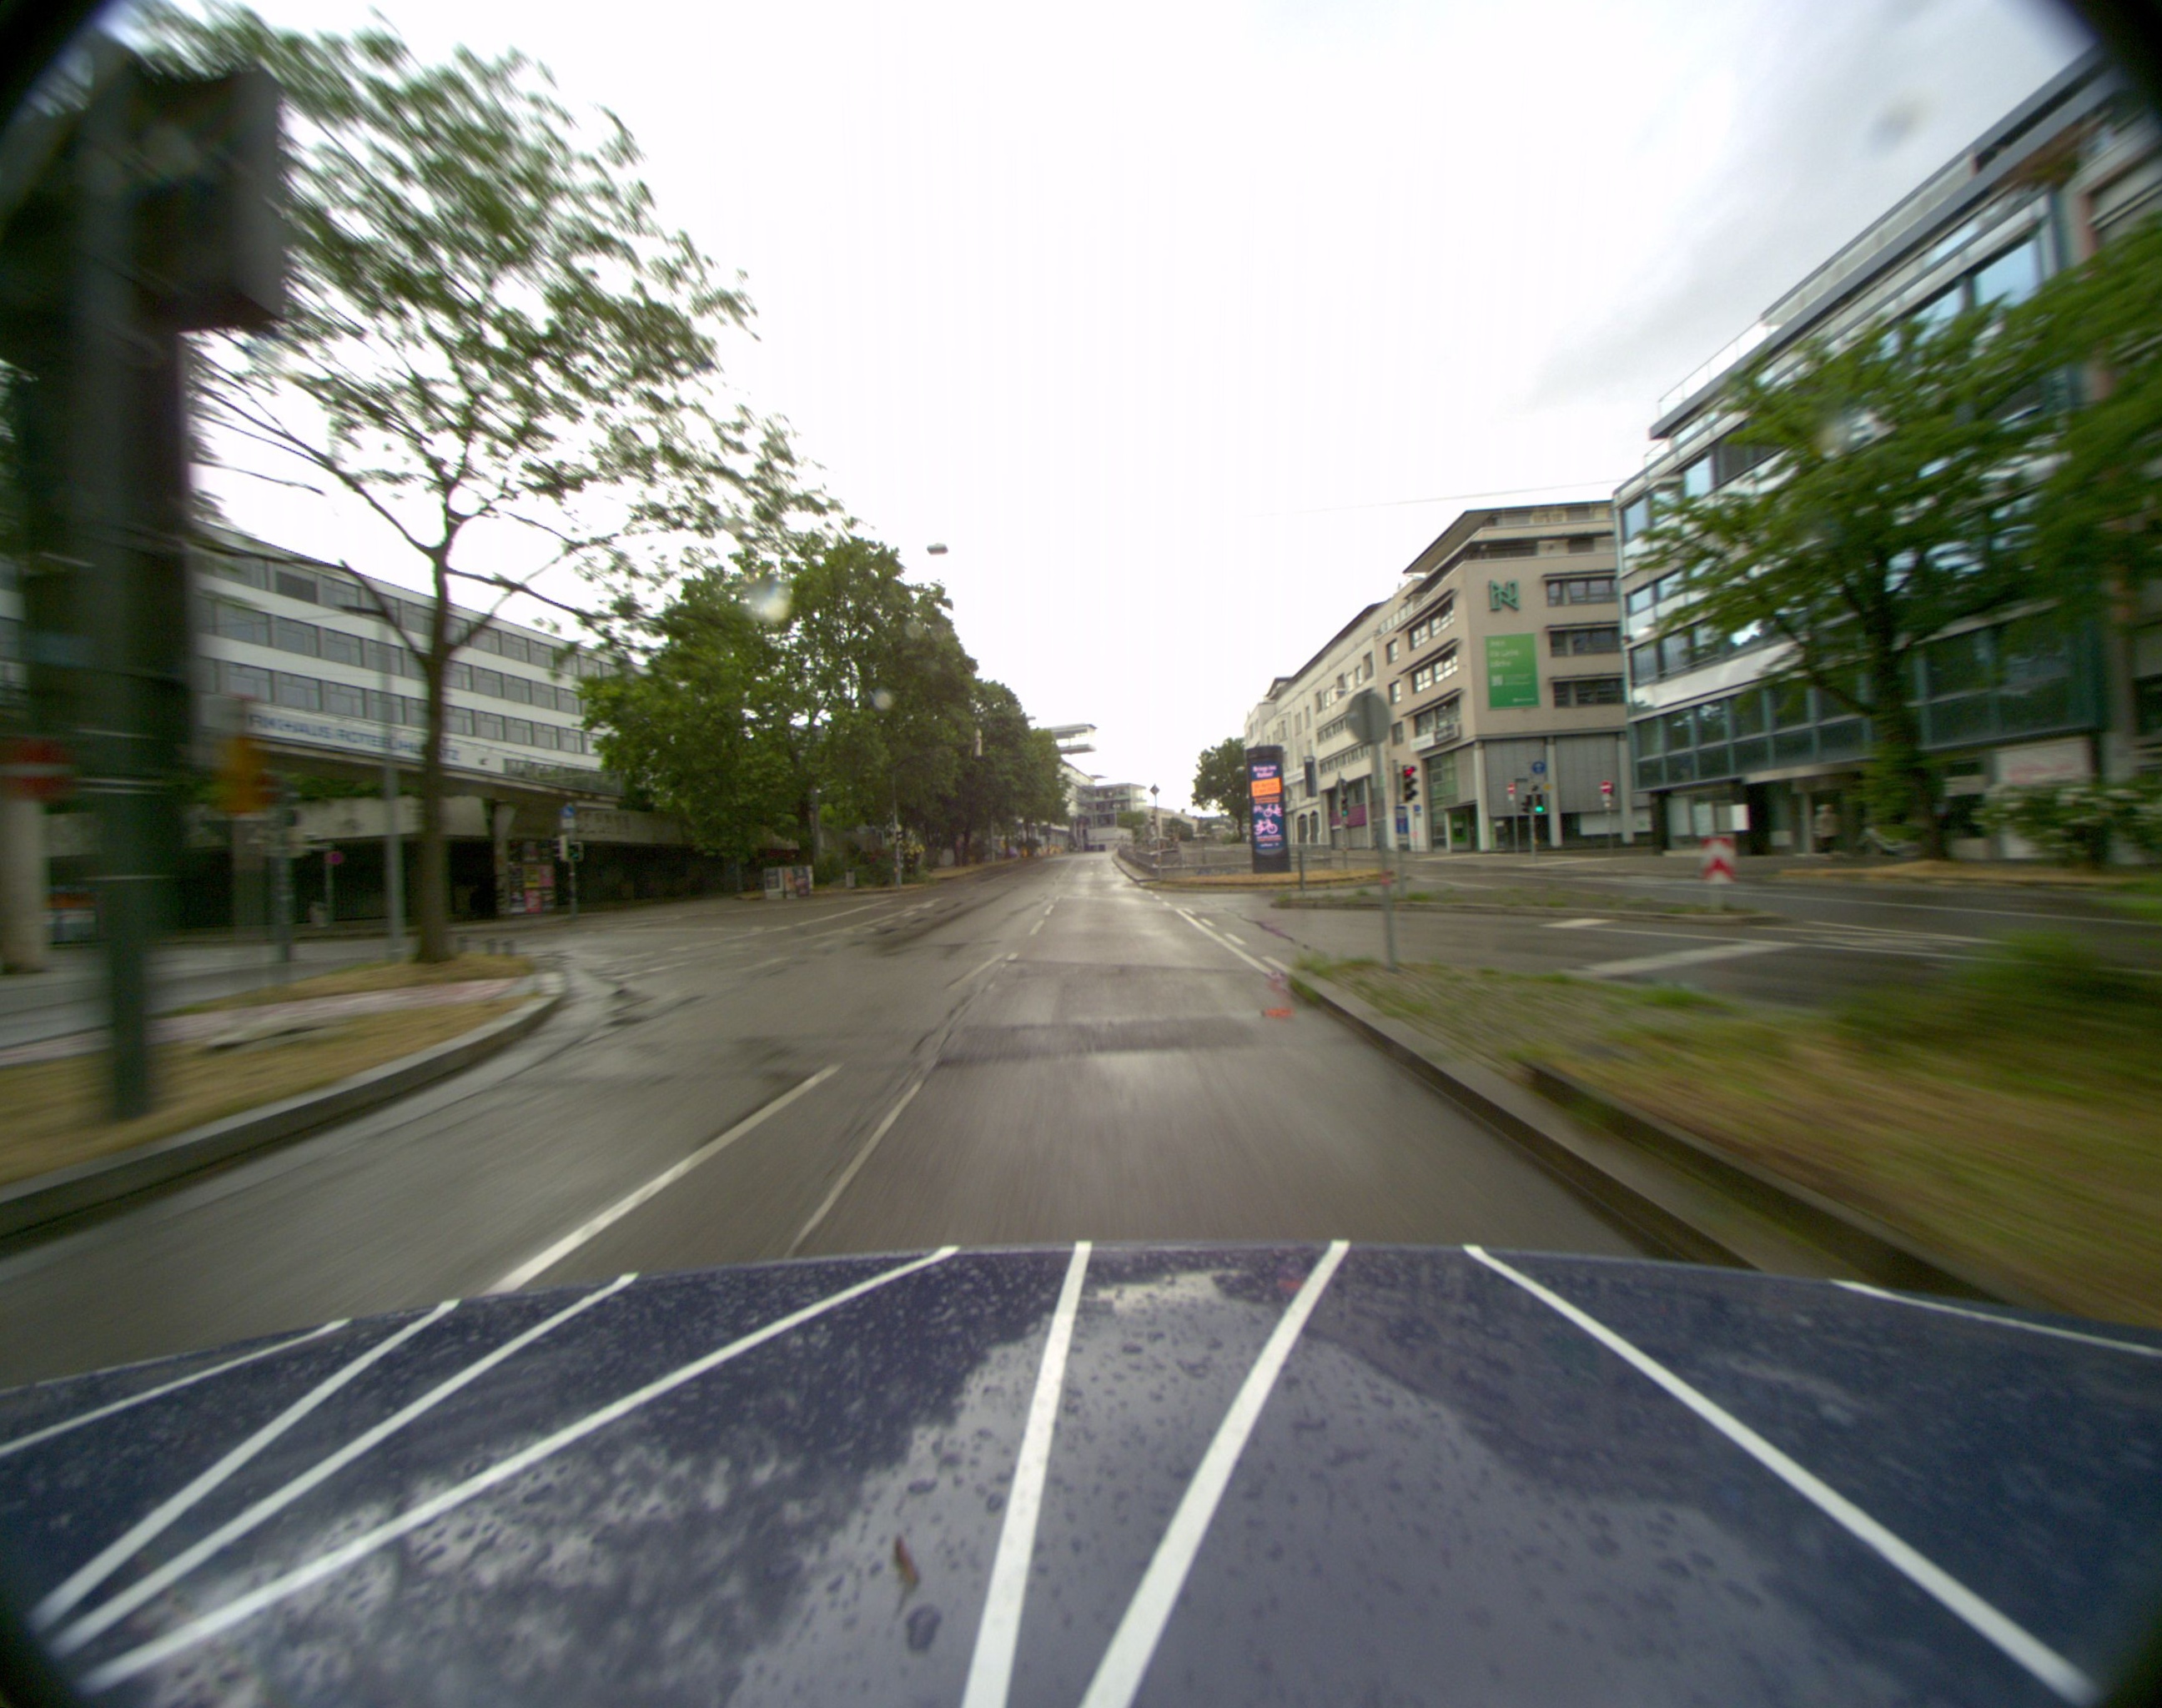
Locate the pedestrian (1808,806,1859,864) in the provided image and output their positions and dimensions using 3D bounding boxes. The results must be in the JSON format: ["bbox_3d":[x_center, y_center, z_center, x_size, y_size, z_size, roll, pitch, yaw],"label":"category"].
[{"bbox_3d":[22.663,-0.569,22.898,0.740,1.704,0.757,-3,1,1],"label":"pedestrian"}]

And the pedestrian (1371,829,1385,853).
[{"bbox_3d":[21.655,-0.954,55.430,0.695,1.718,0.803,-2,1,-1],"label":"pedestrian"}]
